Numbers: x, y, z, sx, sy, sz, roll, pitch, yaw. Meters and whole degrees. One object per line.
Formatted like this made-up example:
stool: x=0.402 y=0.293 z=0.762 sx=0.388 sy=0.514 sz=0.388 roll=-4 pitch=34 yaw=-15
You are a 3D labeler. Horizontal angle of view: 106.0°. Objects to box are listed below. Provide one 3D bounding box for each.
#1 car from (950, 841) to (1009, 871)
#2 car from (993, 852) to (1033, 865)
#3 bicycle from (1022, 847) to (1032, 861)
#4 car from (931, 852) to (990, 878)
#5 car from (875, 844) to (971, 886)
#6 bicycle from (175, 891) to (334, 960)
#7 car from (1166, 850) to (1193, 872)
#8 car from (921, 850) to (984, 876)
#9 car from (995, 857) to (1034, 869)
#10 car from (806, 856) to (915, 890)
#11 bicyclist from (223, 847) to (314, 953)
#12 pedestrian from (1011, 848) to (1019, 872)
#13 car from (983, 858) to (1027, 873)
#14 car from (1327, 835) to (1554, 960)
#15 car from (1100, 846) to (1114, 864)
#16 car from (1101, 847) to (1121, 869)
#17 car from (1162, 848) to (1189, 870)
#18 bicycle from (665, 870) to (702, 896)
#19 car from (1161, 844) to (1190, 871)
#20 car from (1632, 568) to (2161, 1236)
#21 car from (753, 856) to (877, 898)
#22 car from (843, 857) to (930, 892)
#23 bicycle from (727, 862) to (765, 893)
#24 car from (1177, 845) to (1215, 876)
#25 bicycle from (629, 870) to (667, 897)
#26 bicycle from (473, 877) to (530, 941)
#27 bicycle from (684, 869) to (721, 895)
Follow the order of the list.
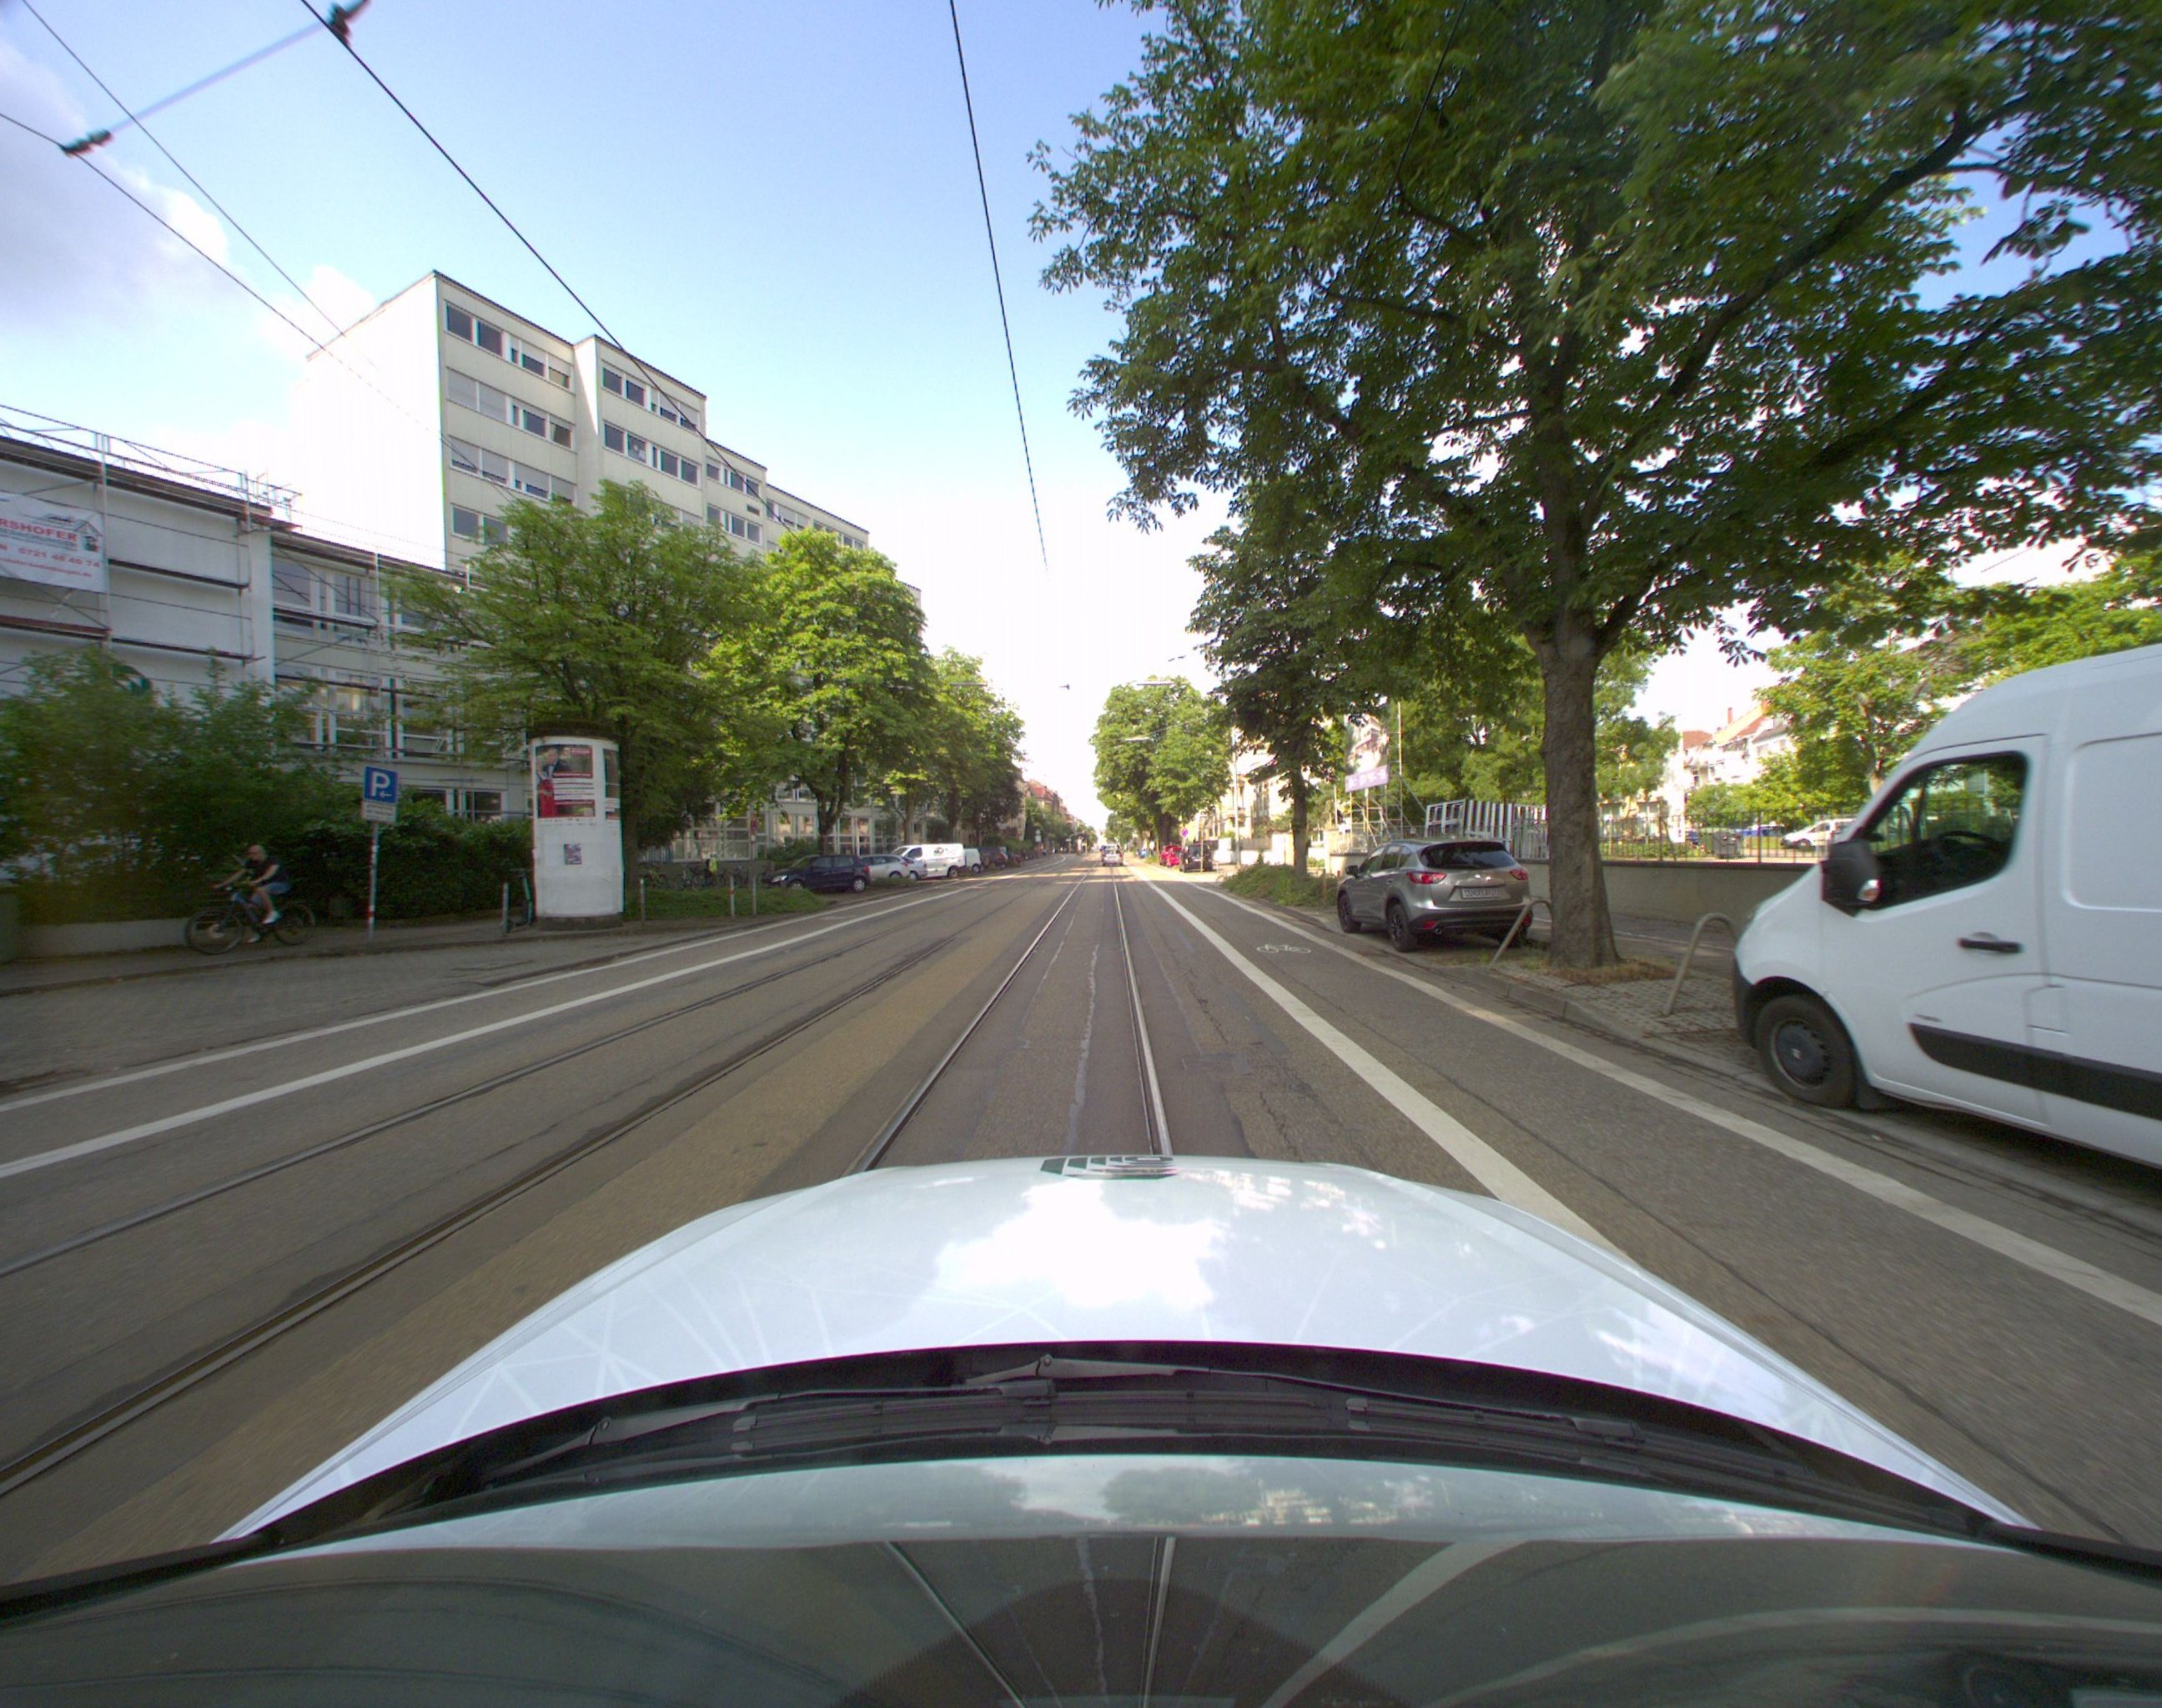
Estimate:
car: x=-7.872 y=0.171 z=63.528 sx=4.227 sy=2.081 sz=1.861 roll=4 pitch=-1 yaw=-44
car: x=-6.903 y=0.474 z=82.482 sx=3.804 sy=1.306 sz=1.620 roll=0 pitch=-1 yaw=-37
bicycle: x=-7.051 y=0.017 z=106.406 sx=0.933 sy=1.746 sz=2.289 roll=0 pitch=-1 yaw=8
car: x=-8.451 y=0.758 z=57.307 sx=3.780 sy=1.712 sz=1.860 roll=0 pitch=-1 yaw=-44
car: x=-8.533 y=0.594 z=44.223 sx=4.667 sy=1.912 sz=1.910 roll=-5 pitch=1 yaw=-40
bicycle: x=-13.652 y=1.146 z=13.548 sx=0.565 sy=0.980 sz=1.984 roll=0 pitch=-1 yaw=2
car: x=7.056 y=0.518 z=58.503 sx=1.660 sy=1.486 sz=3.281 roll=-3 pitch=-1 yaw=2
car: x=-8.494 y=0.587 z=54.041 sx=3.780 sy=1.712 sz=1.860 roll=0 pitch=-1 yaw=-44
car: x=-7.040 y=0.937 z=85.938 sx=3.804 sy=1.306 sz=1.620 roll=0 pitch=-1 yaw=-37
car: x=-9.900 y=0.833 z=36.848 sx=1.718 sy=1.426 sz=4.488 roll=-2 pitch=-1 yaw=45
bicyclist: x=-13.667 y=0.754 z=13.722 sx=0.720 sy=1.740 sz=0.782 roll=0 pitch=-1 yaw=1
pedestrian: x=-5.623 y=0.533 z=69.504 sx=0.613 sy=2.014 sz=0.501 roll=0 pitch=-1 yaw=1
car: x=-6.945 y=1.056 z=74.502 sx=3.804 sy=1.306 sz=1.620 roll=0 pitch=-1 yaw=-37
car: x=5.467 y=0.551 z=13.088 sx=1.758 sy=1.606 sz=4.460 roll=-2 pitch=1 yaw=2
car: x=2.925 y=0.132 z=91.642 sx=1.615 sy=2.000 sz=3.566 roll=0 pitch=-1 yaw=2
car: x=2.420 y=0.316 z=66.304 sx=1.615 sy=1.684 sz=3.566 roll=0 pitch=-1 yaw=2
car: x=7.546 y=0.429 z=65.587 sx=1.952 sy=1.706 sz=4.003 roll=0 pitch=-1 yaw=3
bicycle: x=-16.644 y=1.214 z=34.056 sx=1.877 sy=1.070 sz=0.440 roll=-1 pitch=-1 yaw=31
car: x=6.737 y=0.206 z=58.530 sx=1.668 sy=1.611 sz=3.587 roll=-3 pitch=4 yaw=2
car: x=5.185 y=0.136 z=3.120 sx=2.115 sy=2.567 sz=5.921 roll=-4 pitch=-1 yaw=2
car: x=-9.878 y=0.816 z=30.397 sx=4.021 sy=1.462 sz=1.739 roll=0 pitch=-1 yaw=-41
car: x=-9.584 y=0.989 z=40.283 sx=3.805 sy=1.475 sz=1.705 roll=-4 pitch=0 yaw=-42
bicycle: x=-15.321 y=1.062 z=37.216 sx=1.878 sy=1.364 sz=0.440 roll=-1 pitch=-1 yaw=25
car: x=6.595 y=0.326 z=46.988 sx=1.668 sy=1.611 sz=3.586 roll=-3 pitch=0 yaw=2
bicycle: x=-17.403 y=1.169 z=32.690 sx=1.877 sy=1.070 sz=0.440 roll=-1 pitch=-1 yaw=31
bicycle: x=-11.191 y=1.033 z=15.722 sx=1.489 sy=1.154 sz=0.637 roll=-1 pitch=-1 yaw=44
bicycle: x=-16.170 y=1.199 z=34.763 sx=1.877 sy=1.070 sz=0.440 roll=-1 pitch=-1 yaw=31
